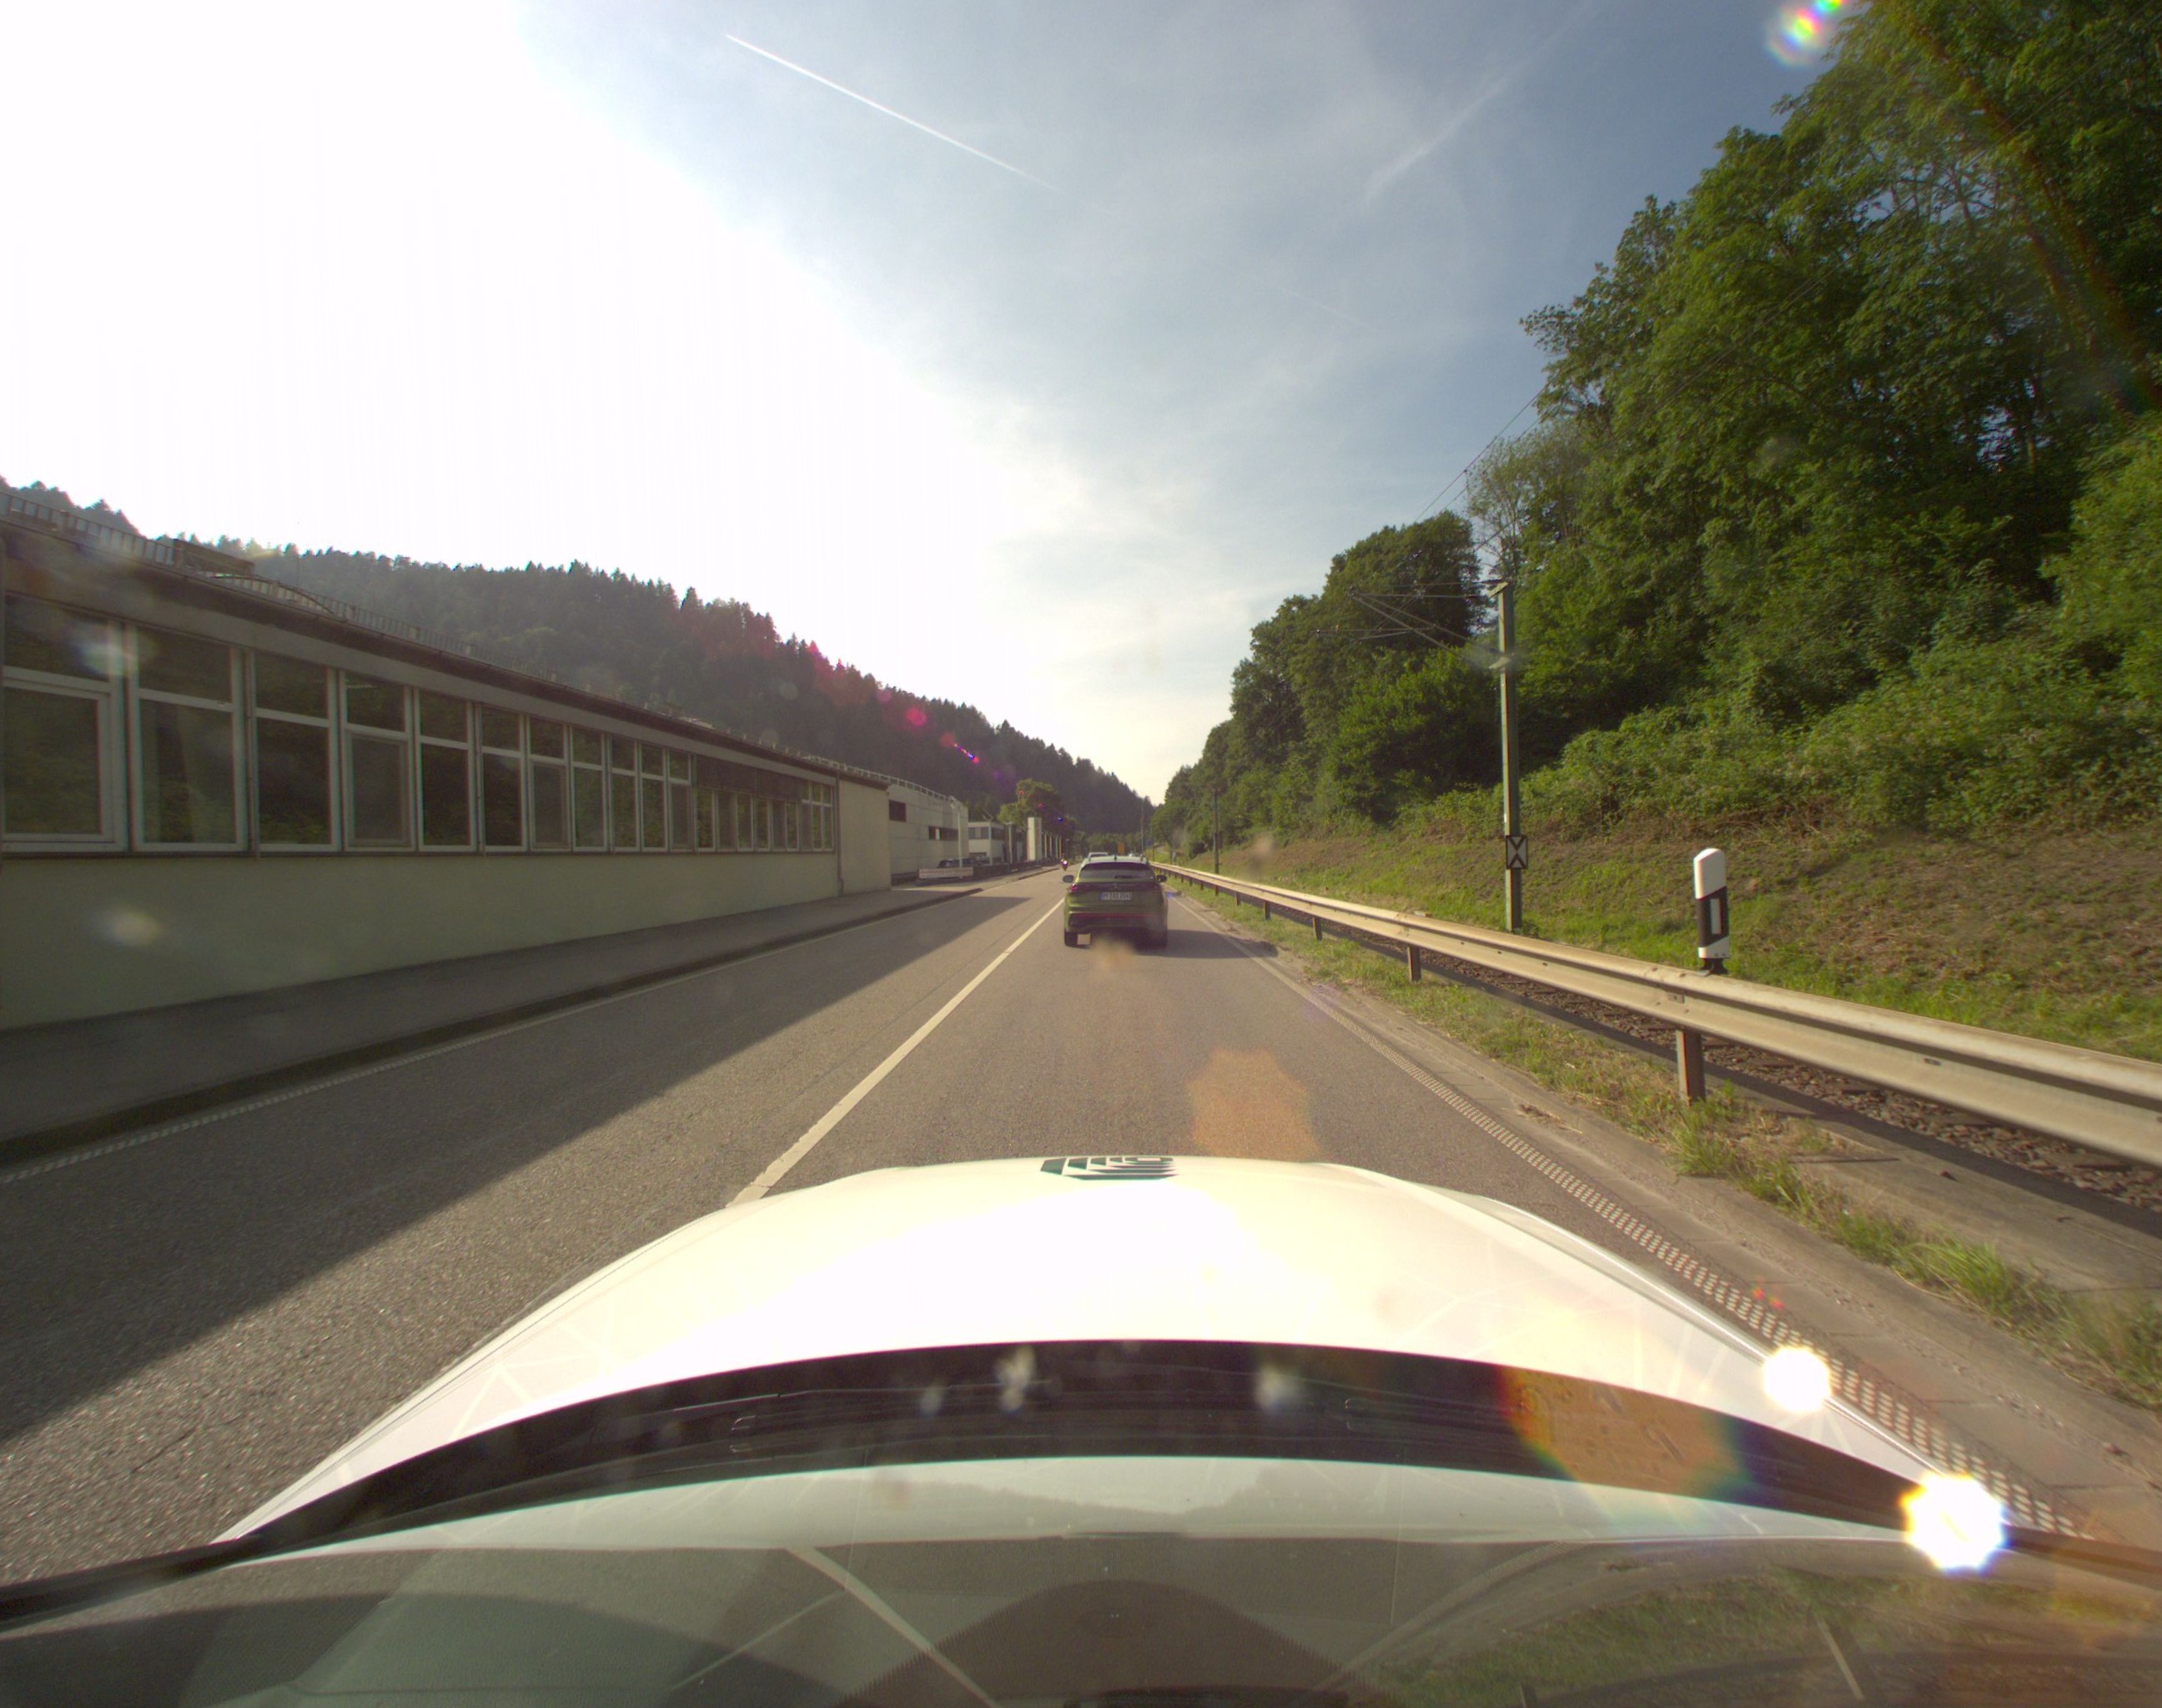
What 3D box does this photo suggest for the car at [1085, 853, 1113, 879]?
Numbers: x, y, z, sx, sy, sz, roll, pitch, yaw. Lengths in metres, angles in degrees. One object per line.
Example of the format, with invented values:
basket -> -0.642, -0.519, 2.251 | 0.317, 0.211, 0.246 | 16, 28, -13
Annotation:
car -> 1.143, 0.727, 52.327 | 1.733, 1.602, 4.001 | -1, 0, 1

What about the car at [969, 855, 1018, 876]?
car -> -7.652, 0.972, 71.414 | 1.759, 1.708, 4.135 | -2, 0, 44

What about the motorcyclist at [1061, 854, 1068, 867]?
motorcyclist -> -1.489, 0.611, 74.439 | 0.583, 1.124, 0.637 | -1, 0, 2

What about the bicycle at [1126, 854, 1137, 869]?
bicycle -> 4.427, 0.677, 71.167 | 0.809, 1.250, 2.122 | -1, 0, 0

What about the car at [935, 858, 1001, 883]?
car -> -7.787, 1.103, 56.386 | 1.865, 1.591, 4.200 | -2, 0, 43

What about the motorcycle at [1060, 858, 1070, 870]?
motorcycle -> -1.449, 0.926, 74.154 | 0.738, 1.068, 2.493 | -1, 0, 2

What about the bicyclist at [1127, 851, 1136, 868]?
bicyclist -> 4.428, 0.461, 71.273 | 0.779, 1.412, 0.675 | -1, 0, 0

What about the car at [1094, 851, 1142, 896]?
car -> 1.387, 0.696, 31.417 | 1.733, 1.602, 4.001 | -1, 0, 1

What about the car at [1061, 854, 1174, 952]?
car -> 0.617, 0.763, 14.729 | 1.733, 1.508, 4.001 | -1, 0, 1
